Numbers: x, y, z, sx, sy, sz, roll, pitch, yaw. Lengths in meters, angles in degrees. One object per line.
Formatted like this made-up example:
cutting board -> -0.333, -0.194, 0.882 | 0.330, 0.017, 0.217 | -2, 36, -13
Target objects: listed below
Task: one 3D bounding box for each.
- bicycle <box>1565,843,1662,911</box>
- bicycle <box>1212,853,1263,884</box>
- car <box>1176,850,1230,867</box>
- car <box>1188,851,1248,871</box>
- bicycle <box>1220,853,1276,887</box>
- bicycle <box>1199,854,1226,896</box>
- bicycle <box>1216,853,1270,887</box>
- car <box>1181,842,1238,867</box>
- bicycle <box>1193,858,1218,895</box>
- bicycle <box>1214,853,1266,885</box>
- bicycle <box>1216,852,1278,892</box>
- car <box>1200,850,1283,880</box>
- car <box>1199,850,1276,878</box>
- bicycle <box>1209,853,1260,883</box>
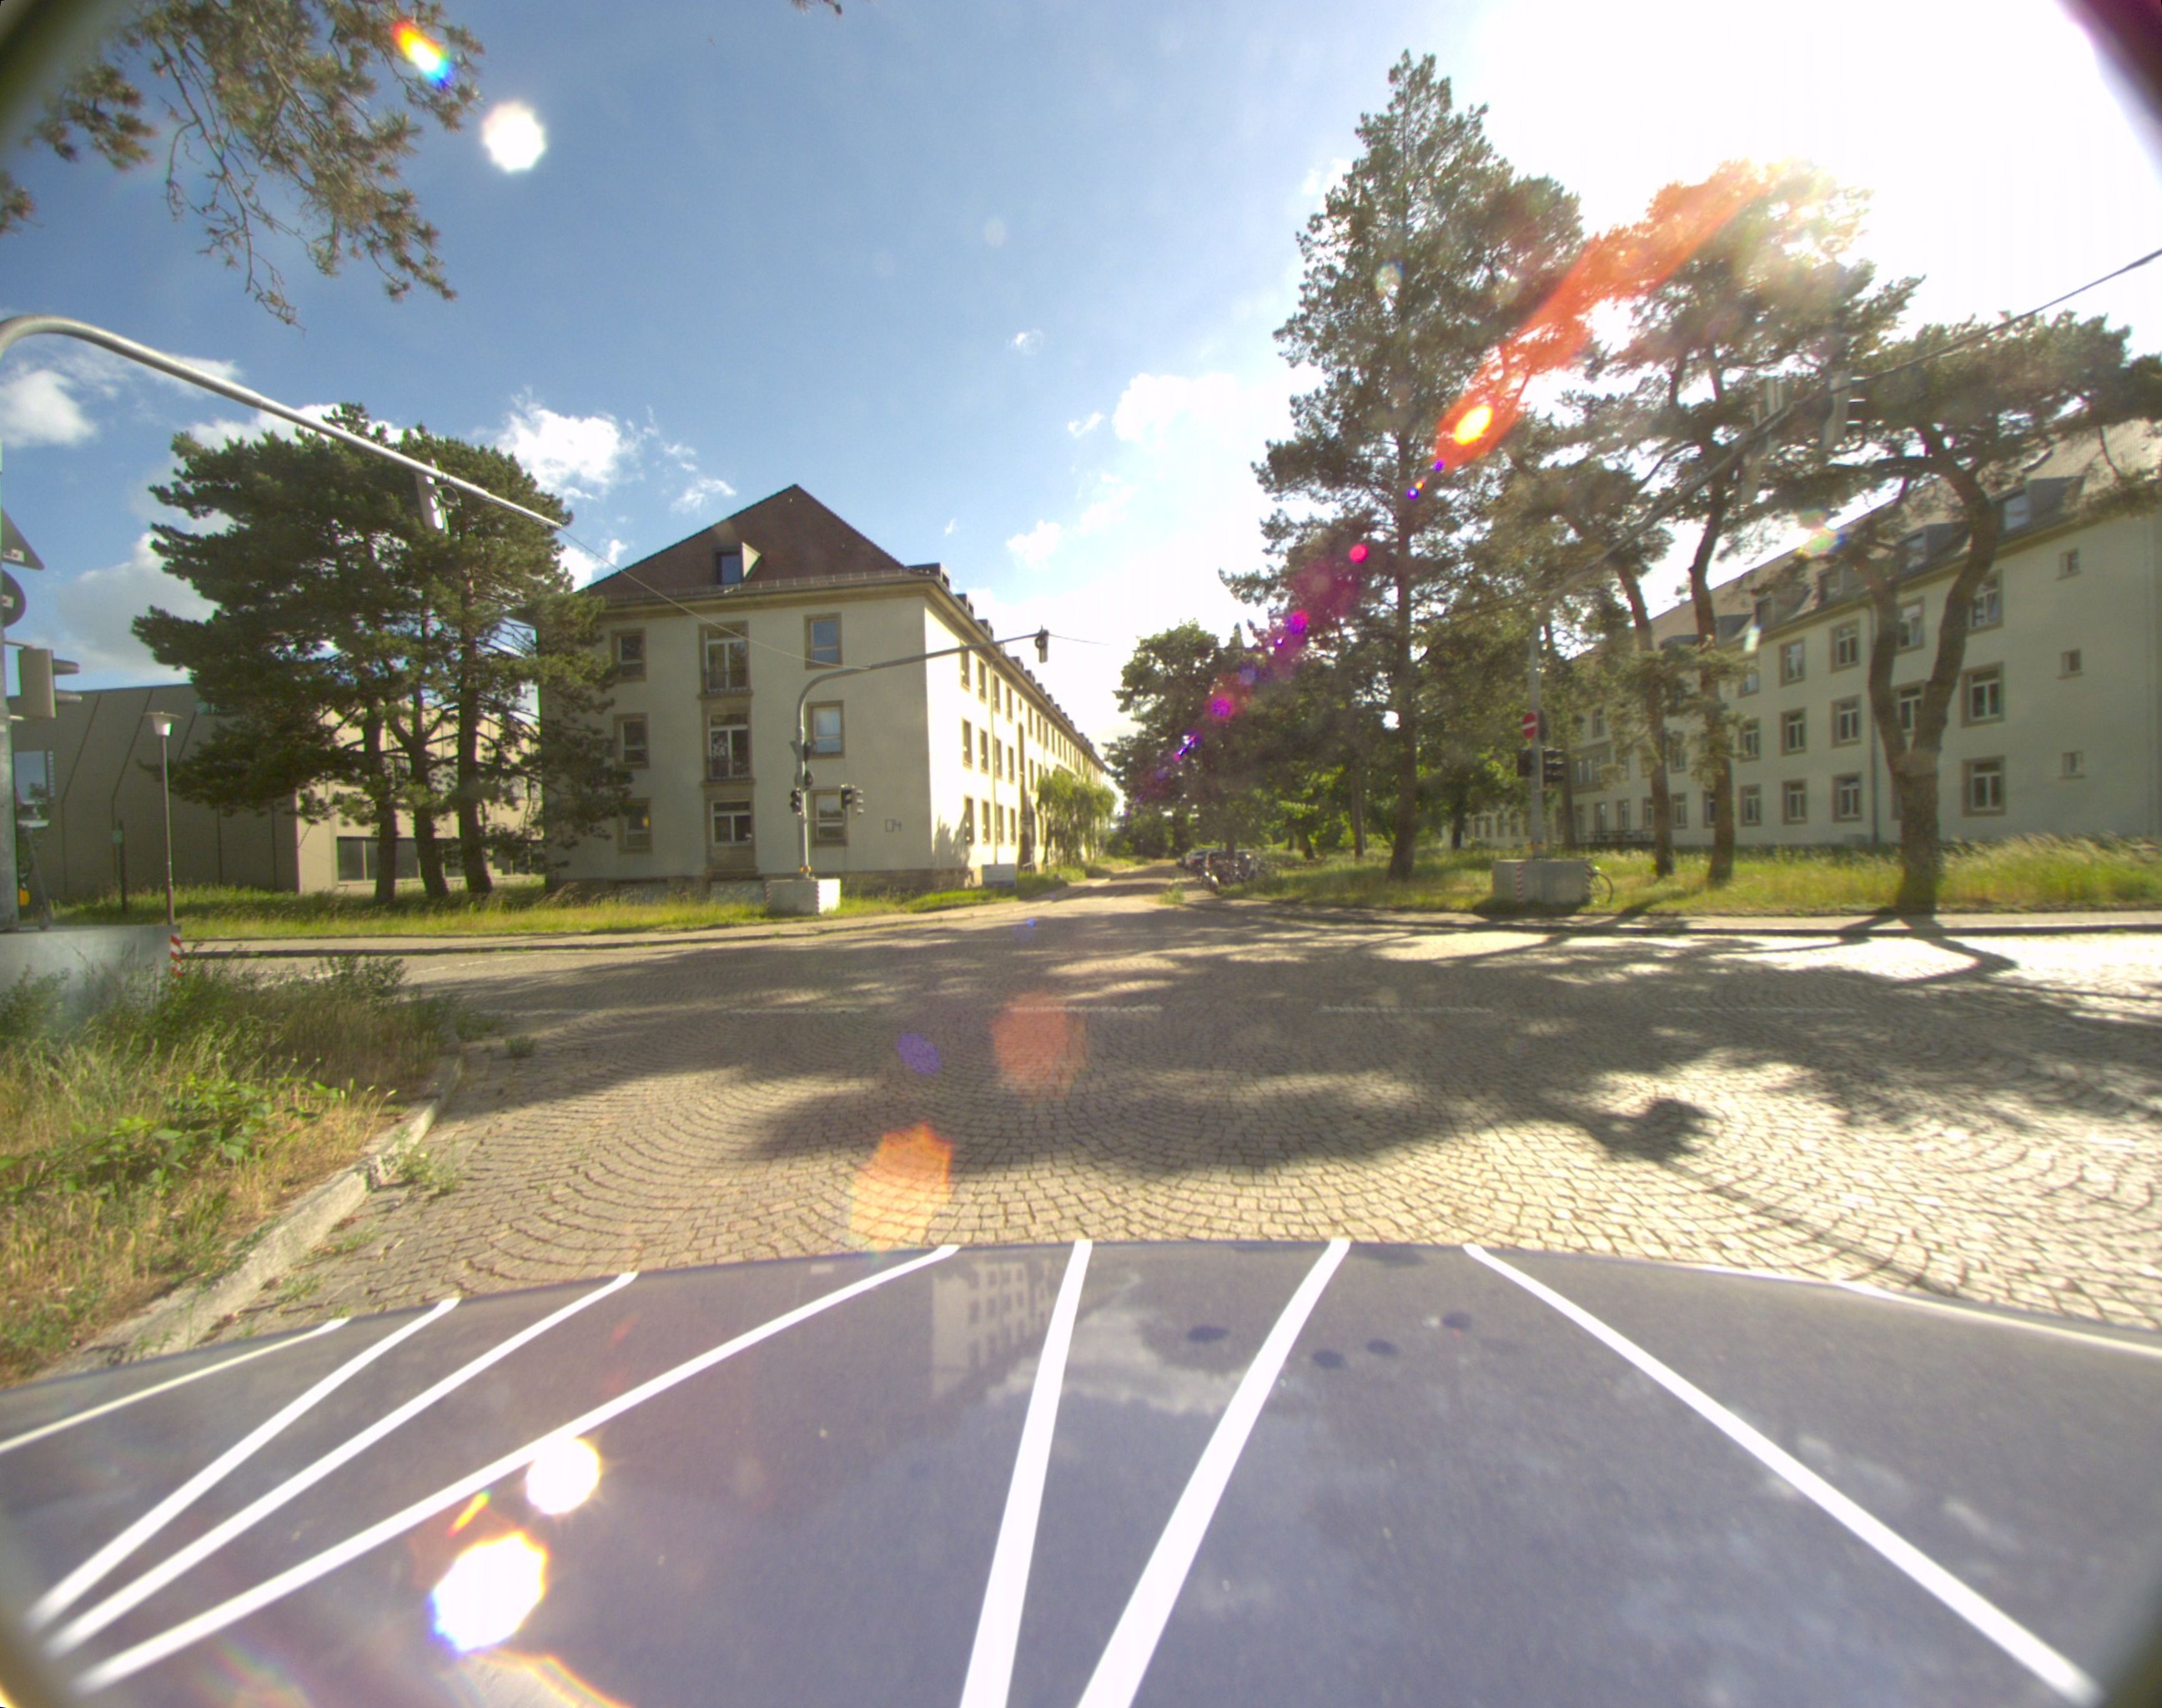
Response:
bicycle -> 11.023, 0.435, 15.823 | 0.621, 1.276, 2.116 | -4, 0, 6
bicycle -> 6.963, 0.640, 33.914 | 2.113, 1.276, 0.621 | -3, 1, 3
car -> 10.260, 0.395, 64.291 | 4.224, 1.294, 1.817 | -1, 1, -2
car -> 9.952, 0.523, 55.475 | 4.042, 1.356, 1.818 | -1, 1, 1
bicycle -> 6.862, 0.662, 31.327 | 2.113, 1.276, 0.621 | -3, 1, 1
bicycle -> 4.474, 0.696, 25.996 | 0.621, 1.342, 2.115 | -3, 1, 3
bicycle -> 6.855, 0.664, 32.164 | 2.113, 1.276, 0.621 | -3, 1, 2
car -> 10.302, 0.061, 61.098 | 4.224, 1.903, 1.817 | -1, 1, -2
bicycle -> 4.609, 0.810, 28.177 | 0.621, 1.276, 2.115 | -3, 1, 3
bicycle -> 6.895, 0.651, 33.011 | 2.113, 1.276, 0.621 | -3, 1, 3
bicycle -> 6.342, 0.667, 29.124 | 2.113, 1.276, 0.621 | -7, 1, 5
car -> 8.544, 0.587, 40.772 | 4.042, 1.493, 1.818 | -1, 1, 0
car -> 8.978, 0.572, 43.768 | 4.042, 1.514, 1.818 | -1, 1, 0
bicycle -> 7.010, 0.637, 34.758 | 2.113, 1.276, 0.621 | -3, 1, 3
